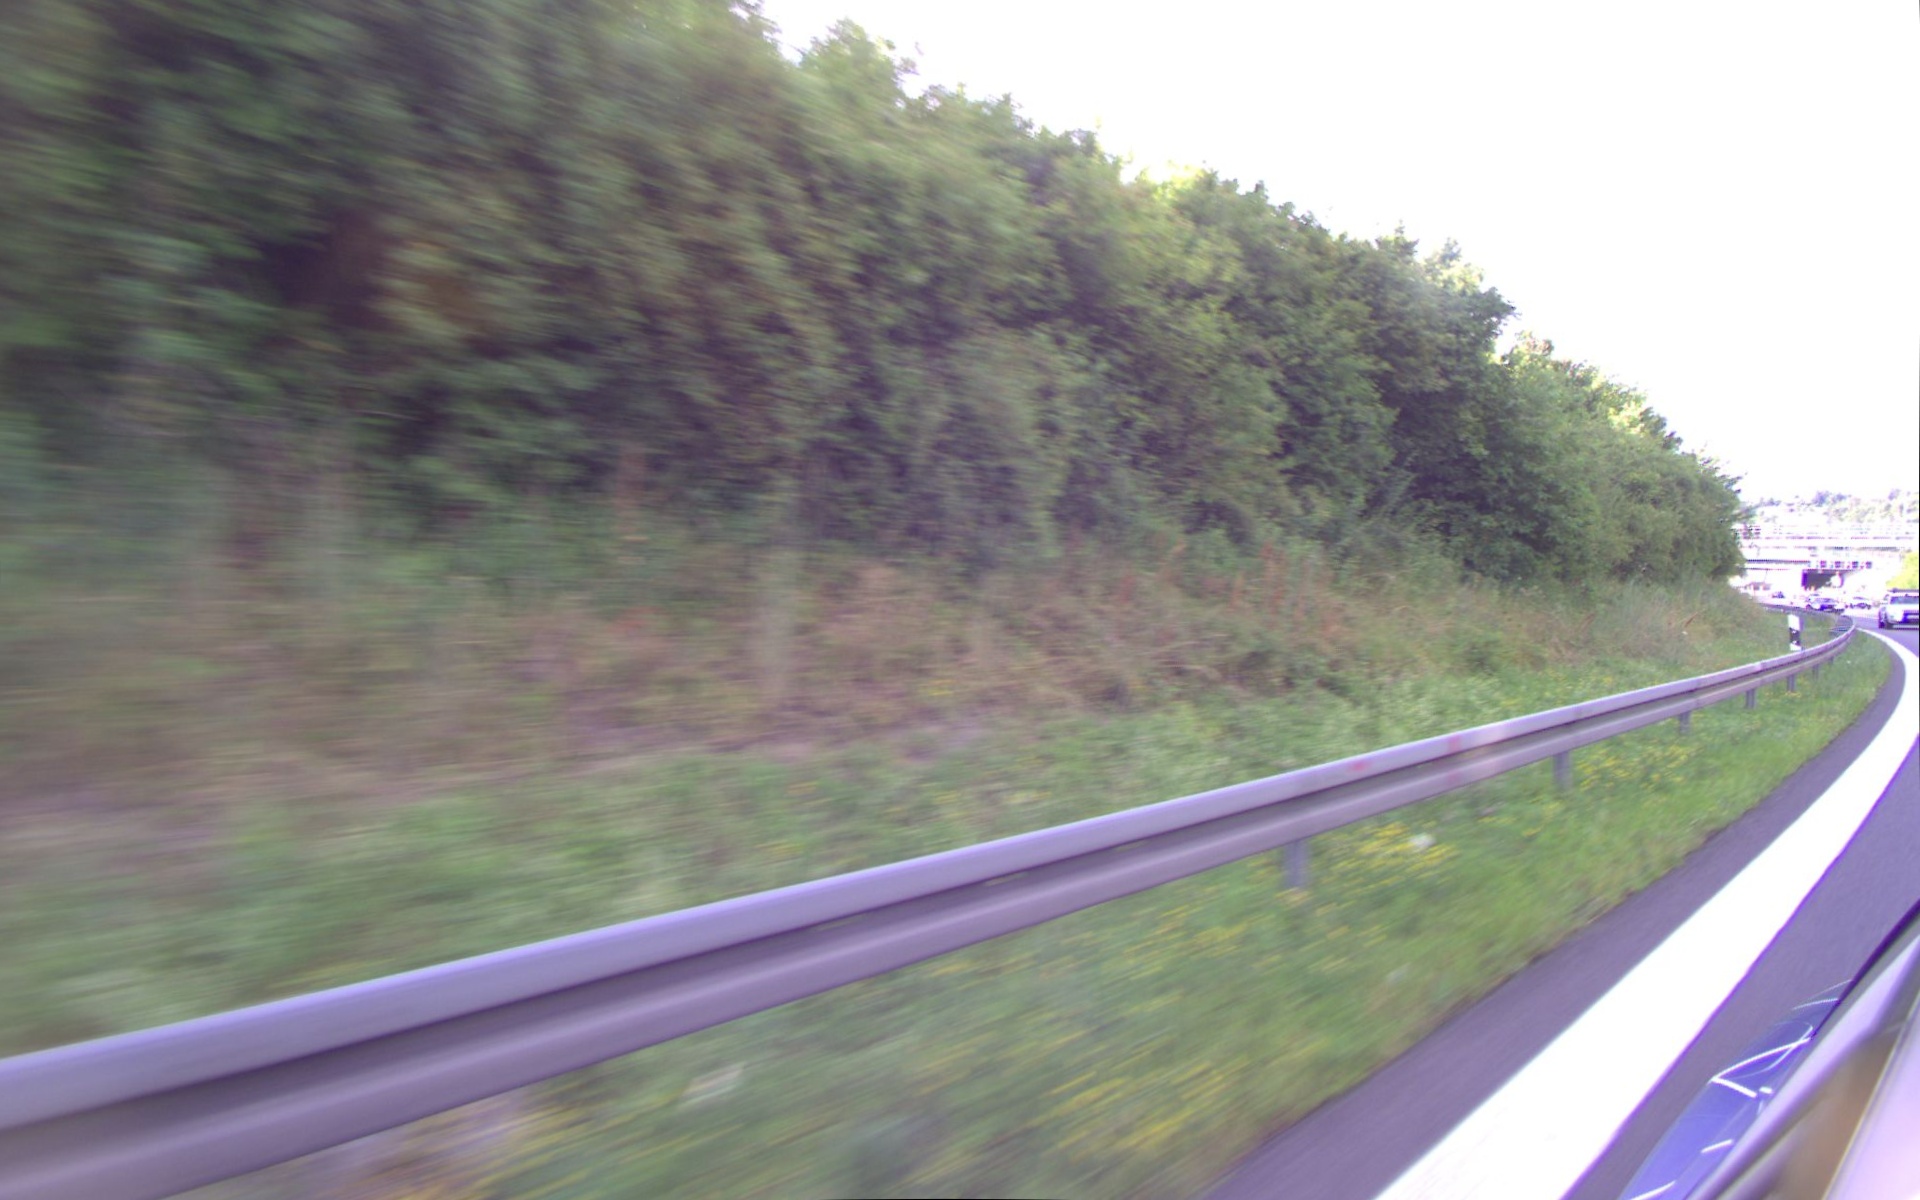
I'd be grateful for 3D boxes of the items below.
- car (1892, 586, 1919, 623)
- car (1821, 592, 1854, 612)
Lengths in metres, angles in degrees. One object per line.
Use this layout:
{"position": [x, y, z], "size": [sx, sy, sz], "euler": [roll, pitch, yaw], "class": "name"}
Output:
{"position": [46.291, 0.204, 48.635], "size": [1.897, 1.685, 3.944], "euler": [2, 2, 39], "class": "car"}
{"position": [68.444, 0.124, 78.943], "size": [1.611, 1.478, 3.615], "euler": [0, 0, 36], "class": "car"}
